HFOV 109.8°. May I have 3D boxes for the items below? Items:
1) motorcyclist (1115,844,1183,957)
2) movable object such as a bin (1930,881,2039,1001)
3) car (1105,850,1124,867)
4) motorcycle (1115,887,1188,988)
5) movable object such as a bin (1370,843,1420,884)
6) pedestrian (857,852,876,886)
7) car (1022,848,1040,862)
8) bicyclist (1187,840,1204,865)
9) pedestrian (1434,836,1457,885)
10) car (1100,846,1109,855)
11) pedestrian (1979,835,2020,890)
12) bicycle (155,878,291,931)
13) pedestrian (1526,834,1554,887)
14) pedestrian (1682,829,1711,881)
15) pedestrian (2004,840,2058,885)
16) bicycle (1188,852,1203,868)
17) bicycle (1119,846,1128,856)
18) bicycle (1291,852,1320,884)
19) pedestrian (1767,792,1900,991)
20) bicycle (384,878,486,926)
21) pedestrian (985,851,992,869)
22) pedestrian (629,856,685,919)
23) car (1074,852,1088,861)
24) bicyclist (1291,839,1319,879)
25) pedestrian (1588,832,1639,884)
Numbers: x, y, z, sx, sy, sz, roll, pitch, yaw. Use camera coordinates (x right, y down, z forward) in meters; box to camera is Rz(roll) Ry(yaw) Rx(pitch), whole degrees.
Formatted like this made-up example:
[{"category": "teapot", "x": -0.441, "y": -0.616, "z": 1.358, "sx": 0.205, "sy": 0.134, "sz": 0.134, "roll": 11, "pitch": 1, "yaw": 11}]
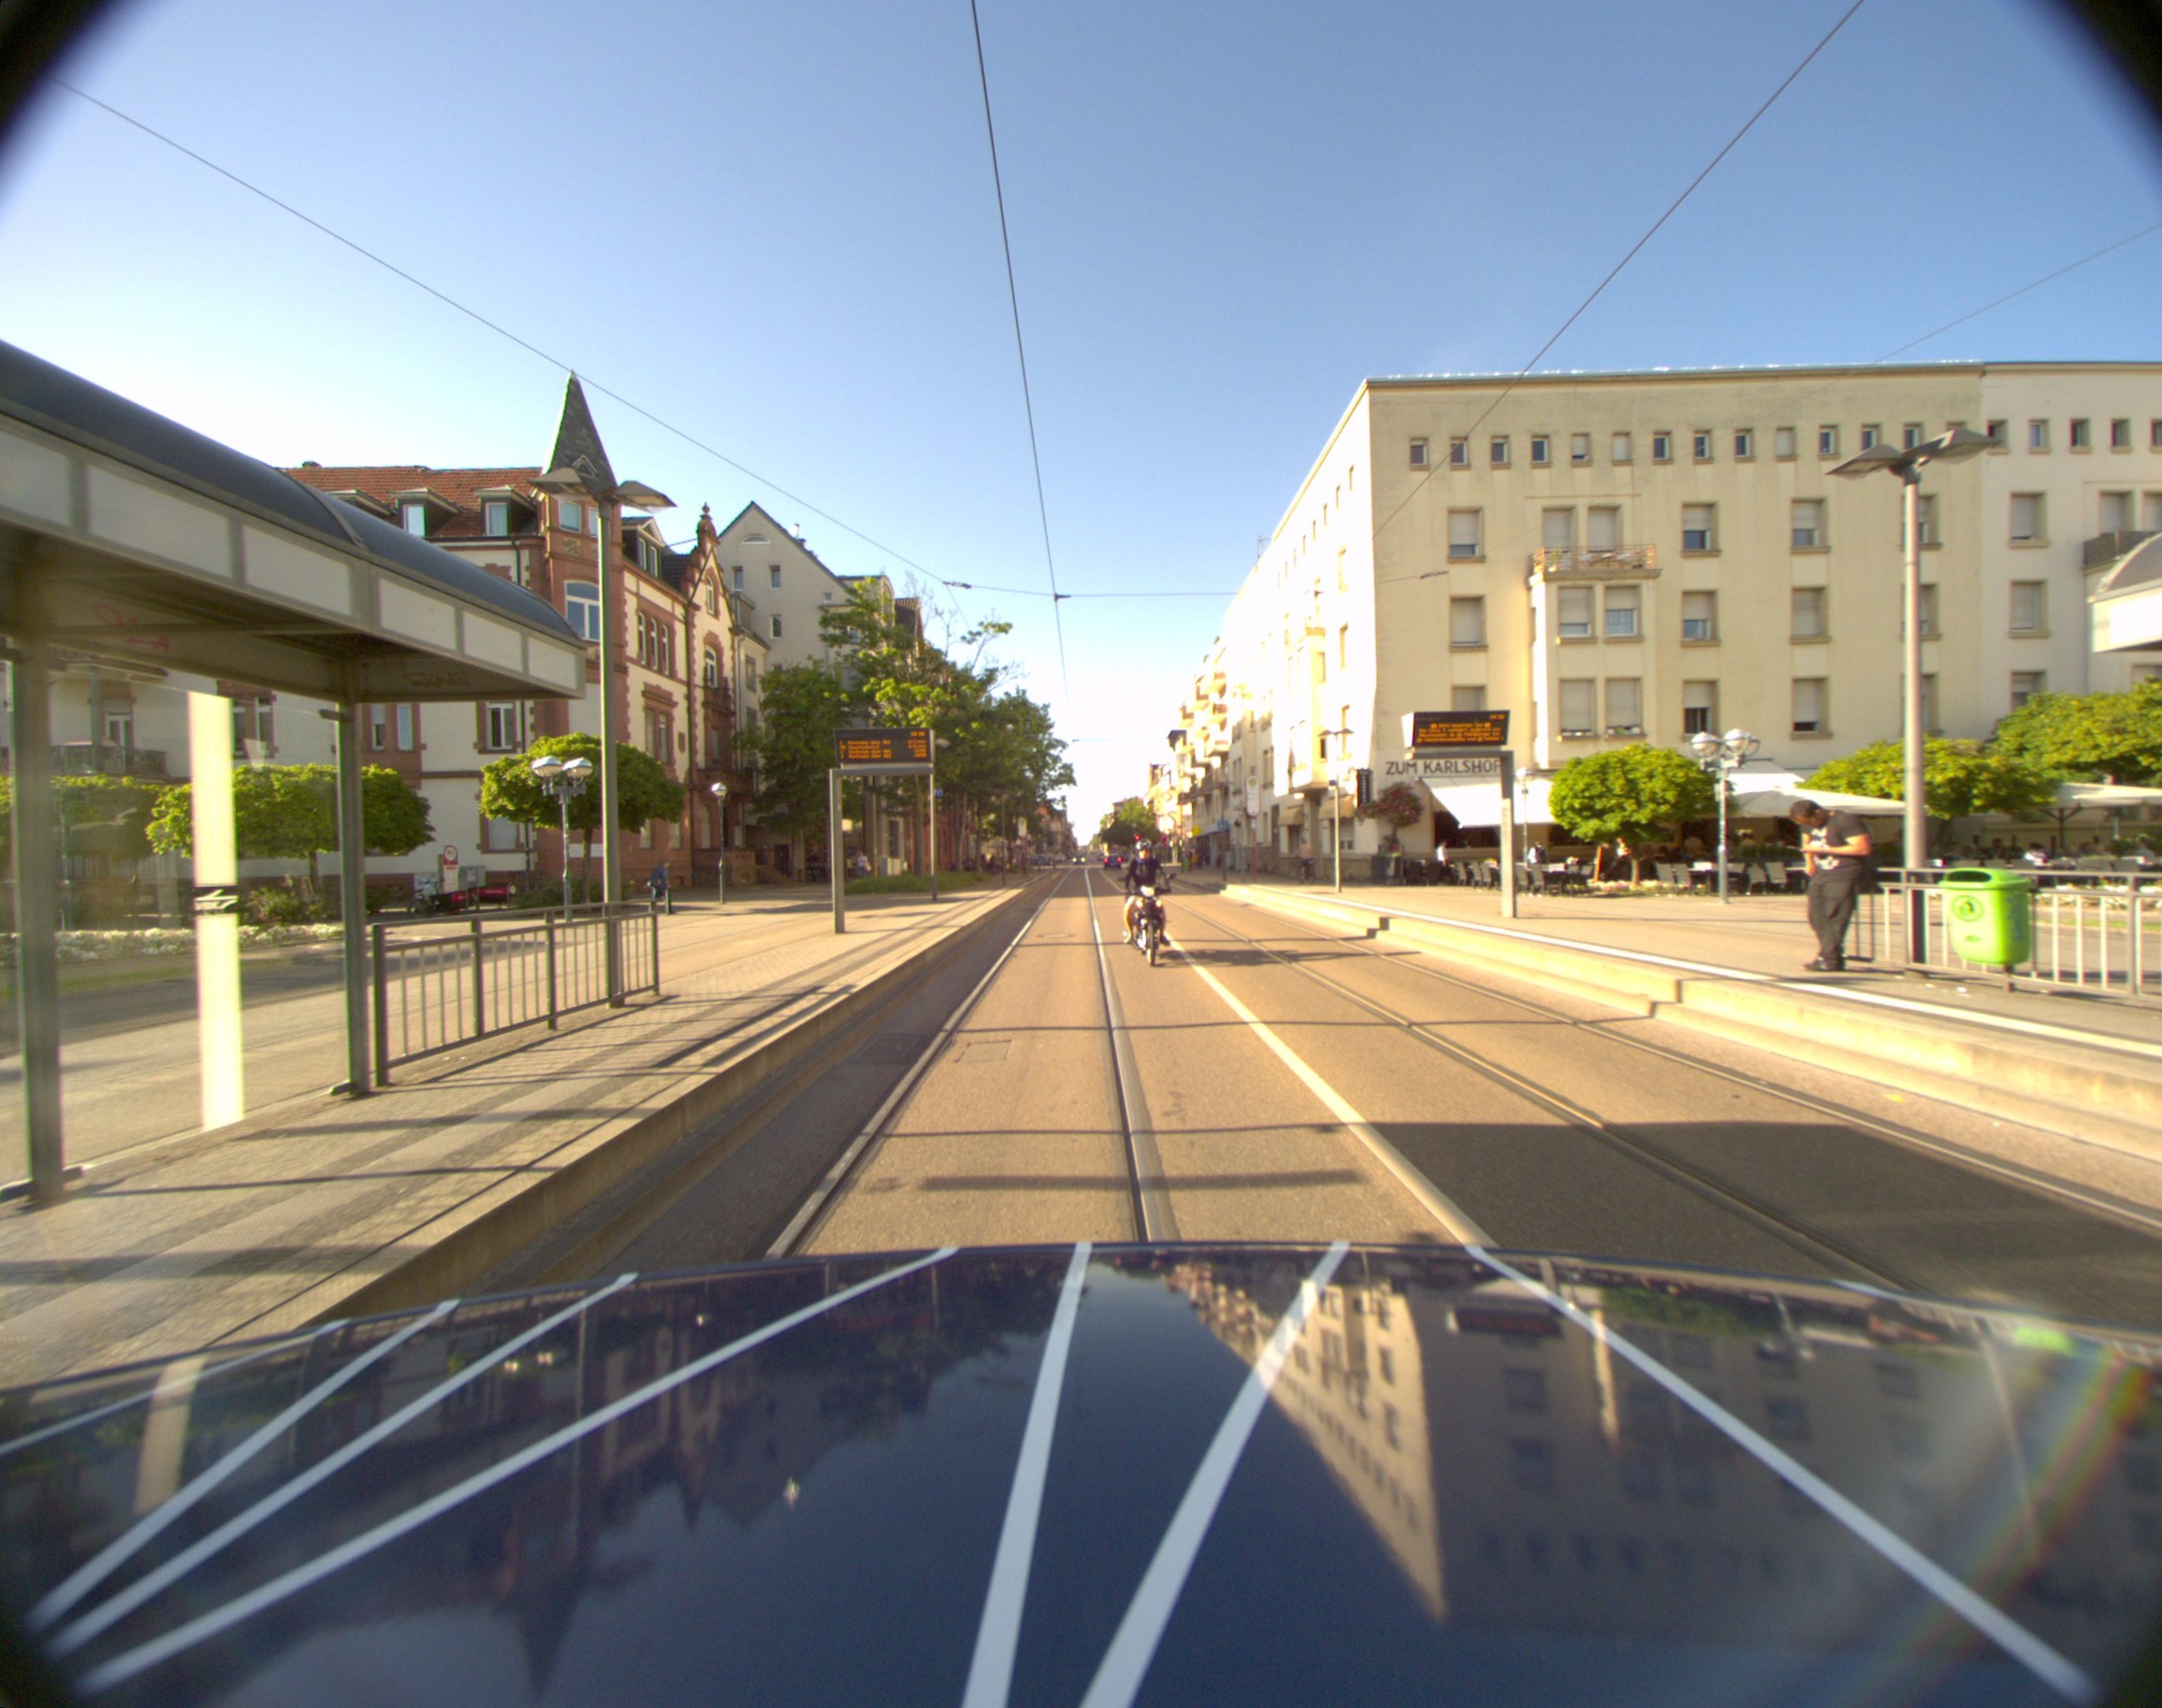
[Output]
[{"category": "motorcyclist", "x": 0.921, "y": 0.604, "z": 10.529, "sx": 0.821, "sy": 1.466, "sz": 1.114, "roll": -1, "pitch": 1, "yaw": 1}, {"category": "movable object such as a bin", "x": 6.855, "y": 0.648, "z": 5.777, "sx": 0.337, "sy": 0.855, "sz": 0.416, "roll": -1, "pitch": 1, "yaw": 3}, {"category": "car", "x": 3.244, "y": 0.407, "z": 73.829, "sx": 1.671, "sy": 1.479, "sz": 3.999, "roll": -2, "pitch": 0, "yaw": 0}, {"category": "motorcycle", "x": 0.917, "y": 1.067, "z": 10.457, "sx": 0.799, "sy": 1.090, "sz": 2.428, "roll": -1, "pitch": 1, "yaw": 1}, {"category": "movable object such as a bin", "x": 11.219, "y": 0.328, "z": 27.180, "sx": 1.319, "sy": 1.392, "sz": 1.128, "roll": -1, "pitch": 1, "yaw": -1}, {"category": "pedestrian", "x": -10.981, "y": 0.768, "z": 38.912, "sx": 0.742, "sy": 1.725, "sz": 0.877, "roll": -2, "pitch": 1, "yaw": -6}, {"category": "car", "x": -7.375, "y": 0.180, "z": 112.474, "sx": 1.998, "sy": 2.002, "sz": 4.001, "roll": -1, "pitch": 1, "yaw": 4}, {"category": "bicyclist", "x": 8.504, "y": -0.101, "z": 56.555, "sx": 1.006, "sy": 1.783, "sz": 1.095, "roll": -2, "pitch": 1, "yaw": -4}, {"category": "pedestrian", "x": 12.665, "y": 0.240, "z": 26.372, "sx": 0.672, "sy": 1.634, "sz": 0.752, "roll": -1, "pitch": -2, "yaw": 27}, {"category": "car", "x": 5.259, "y": -0.811, "z": 171.068, "sx": 1.877, "sy": 2.105, "sz": 4.000, "roll": -2, "pitch": 1, "yaw": 2}, {"category": "pedestrian", "x": 29.856, "y": 0.289, "z": 24.700, "sx": 0.675, "sy": 1.726, "sz": 0.683, "roll": 1, "pitch": -2, "yaw": -27}, {"category": "bicycle", "x": -25.778, "y": 1.463, "z": 22.942, "sx": 0.746, "sy": 1.364, "sz": 2.914, "roll": -1, "pitch": 1, "yaw": 1}, {"category": "pedestrian", "x": 14.477, "y": 0.220, "z": 23.971, "sx": 0.672, "sy": 1.634, "sz": 0.678, "roll": -2, "pitch": -2, "yaw": 37}, {"category": "pedestrian", "x": 21.834, "y": 0.040, "z": 26.957, "sx": 0.578, "sy": 1.813, "sz": 0.647, "roll": -2, "pitch": 1, "yaw": -36}, {"category": "pedestrian", "x": 27.041, "y": 0.243, "z": 21.634, "sx": 0.644, "sy": 1.262, "sz": 0.674, "roll": 0, "pitch": -2, "yaw": -4}, {"category": "bicycle", "x": 8.513, "y": 0.435, "z": 56.594, "sx": 0.714, "sy": 1.119, "sz": 2.035, "roll": -2, "pitch": 1, "yaw": -4}, {"category": "bicycle", "x": 7.169, "y": -0.482, "z": 128.555, "sx": 1.228, "sy": 1.719, "sz": 3.106, "roll": -1, "pitch": 1, "yaw": -3}, {"category": "bicycle", "x": 8.509, "y": 0.514, "z": 28.834, "sx": 0.729, "sy": 1.107, "sz": 1.977, "roll": -2, "pitch": 1, "yaw": 8}, {"category": "pedestrian", "x": 6.734, "y": 0.320, "z": 6.831, "sx": 0.550, "sy": 1.708, "sz": 0.607, "roll": 1, "pitch": 1, "yaw": 3}, {"category": "bicycle", "x": -18.196, "y": 1.317, "z": 21.506, "sx": 0.790, "sy": 1.062, "sz": 2.804, "roll": -2, "pitch": 2, "yaw": -8}, {"category": "pedestrian", "x": -10.035, "y": 0.639, "z": 82.484, "sx": 0.653, "sy": 2.002, "sz": 0.559, "roll": -1, "pitch": 1, "yaw": 3}, {"category": "pedestrian", "x": -11.610, "y": 0.891, "z": 20.844, "sx": 1.070, "sy": 1.659, "sz": 0.956, "roll": -2, "pitch": 1, "yaw": -12}, {"category": "car", "x": 0.039, "y": 0.337, "z": 113.962, "sx": 1.998, "sy": 1.318, "sz": 3.863, "roll": -1, "pitch": 0, "yaw": 1}, {"category": "bicyclist", "x": 8.487, "y": 0.178, "z": 28.820, "sx": 0.829, "sy": 1.447, "sz": 0.877, "roll": -2, "pitch": 1, "yaw": 9}, {"category": "pedestrian", "x": 17.074, "y": 0.135, "z": 24.390, "sx": 1.066, "sy": 1.634, "sz": 0.757, "roll": 0, "pitch": -2, "yaw": -4}]
